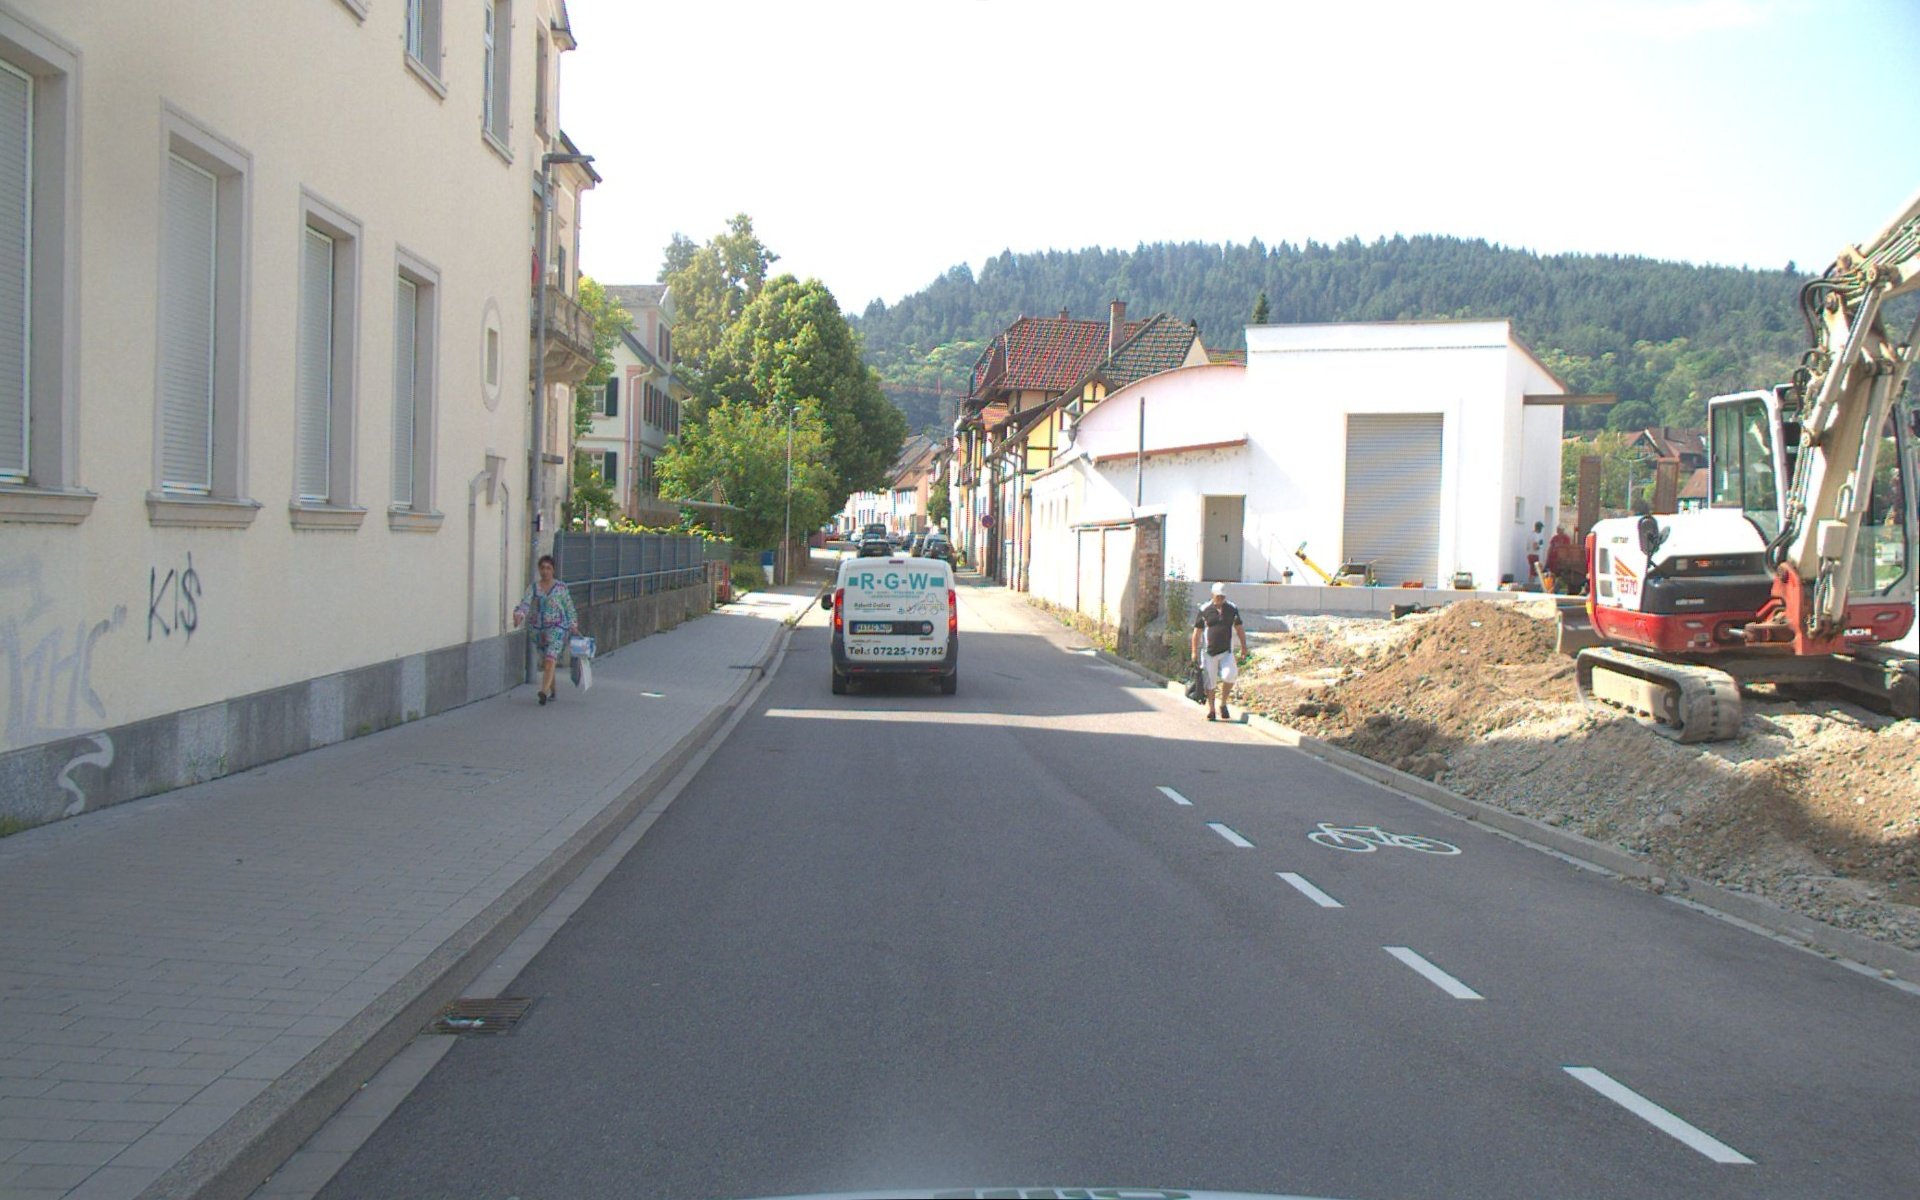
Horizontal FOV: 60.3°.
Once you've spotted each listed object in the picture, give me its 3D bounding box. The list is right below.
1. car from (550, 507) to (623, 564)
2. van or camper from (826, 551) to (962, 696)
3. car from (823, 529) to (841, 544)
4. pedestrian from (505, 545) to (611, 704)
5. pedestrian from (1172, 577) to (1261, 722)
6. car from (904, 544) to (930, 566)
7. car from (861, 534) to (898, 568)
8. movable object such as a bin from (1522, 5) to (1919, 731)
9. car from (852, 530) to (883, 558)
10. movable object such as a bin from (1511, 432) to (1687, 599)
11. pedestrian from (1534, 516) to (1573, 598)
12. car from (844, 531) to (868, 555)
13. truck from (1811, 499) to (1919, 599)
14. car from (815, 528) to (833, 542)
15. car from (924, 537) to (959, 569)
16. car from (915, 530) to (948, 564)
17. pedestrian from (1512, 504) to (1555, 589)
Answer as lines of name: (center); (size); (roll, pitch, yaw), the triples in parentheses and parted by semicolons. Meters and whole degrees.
car: (-13.292, -2.308, 59.106); (1.788, 1.802, 4.679); (5, 2, -5)
van or camper: (-1.019, 0.255, 24.017); (1.792, 1.876, 4.186); (0, 2, -4)
car: (-16.635, -8.212, 214.783); (1.742, 1.830, 3.986); (1, 2, -14)
pedestrian: (-4.395, 0.254, 18.123); (0.939, 1.659, 0.757); (3, 1, -3)
pedestrian: (3.182, 0.601, 20.575); (0.871, 1.712, 0.718); (3, 1, -3)
car: (-3.156, -3.327, 121.297); (1.637, 1.534, 3.997); (1, 2, -5)
car: (-4.376, -2.668, 89.264); (1.776, 1.624, 3.924); (4, 2, -5)
movable object such as a bin: (6.259, -1.255, 10.989); (2.248, 3.920, 7.800); (4, 1, 1)
car: (-6.074, -3.665, 108.188); (1.776, 1.624, 3.923); (4, 2, -6)
movable object such as a bin: (15.746, -1.988, 40.519); (2.799, 3.683, 5.722); (6, 3, 31)
pedestrian: (14.287, -1.037, 39.810); (0.623, 1.929, 0.606); (6, 3, 34)
car: (-12.699, -6.966, 201.436); (2.819, 2.884, 6.119); (1, 2, -5)
truck: (23.183, -1.190, 39.135); (5.207, 2.305, 2.218); (1, 1, 23)
car: (-18.056, -8.637, 220.081); (1.742, 1.830, 3.986); (1, 2, -14)
car: (-1.068, -2.724, 94.818); (1.775, 1.624, 3.926); (4, 2, -3)
car: (-1.843, -3.383, 104.890); (1.834, 2.048, 3.998); (3, 2, -4)
pedestrian: (13.546, -1.258, 39.044); (0.625, 1.929, 0.604); (6, 3, 44)
